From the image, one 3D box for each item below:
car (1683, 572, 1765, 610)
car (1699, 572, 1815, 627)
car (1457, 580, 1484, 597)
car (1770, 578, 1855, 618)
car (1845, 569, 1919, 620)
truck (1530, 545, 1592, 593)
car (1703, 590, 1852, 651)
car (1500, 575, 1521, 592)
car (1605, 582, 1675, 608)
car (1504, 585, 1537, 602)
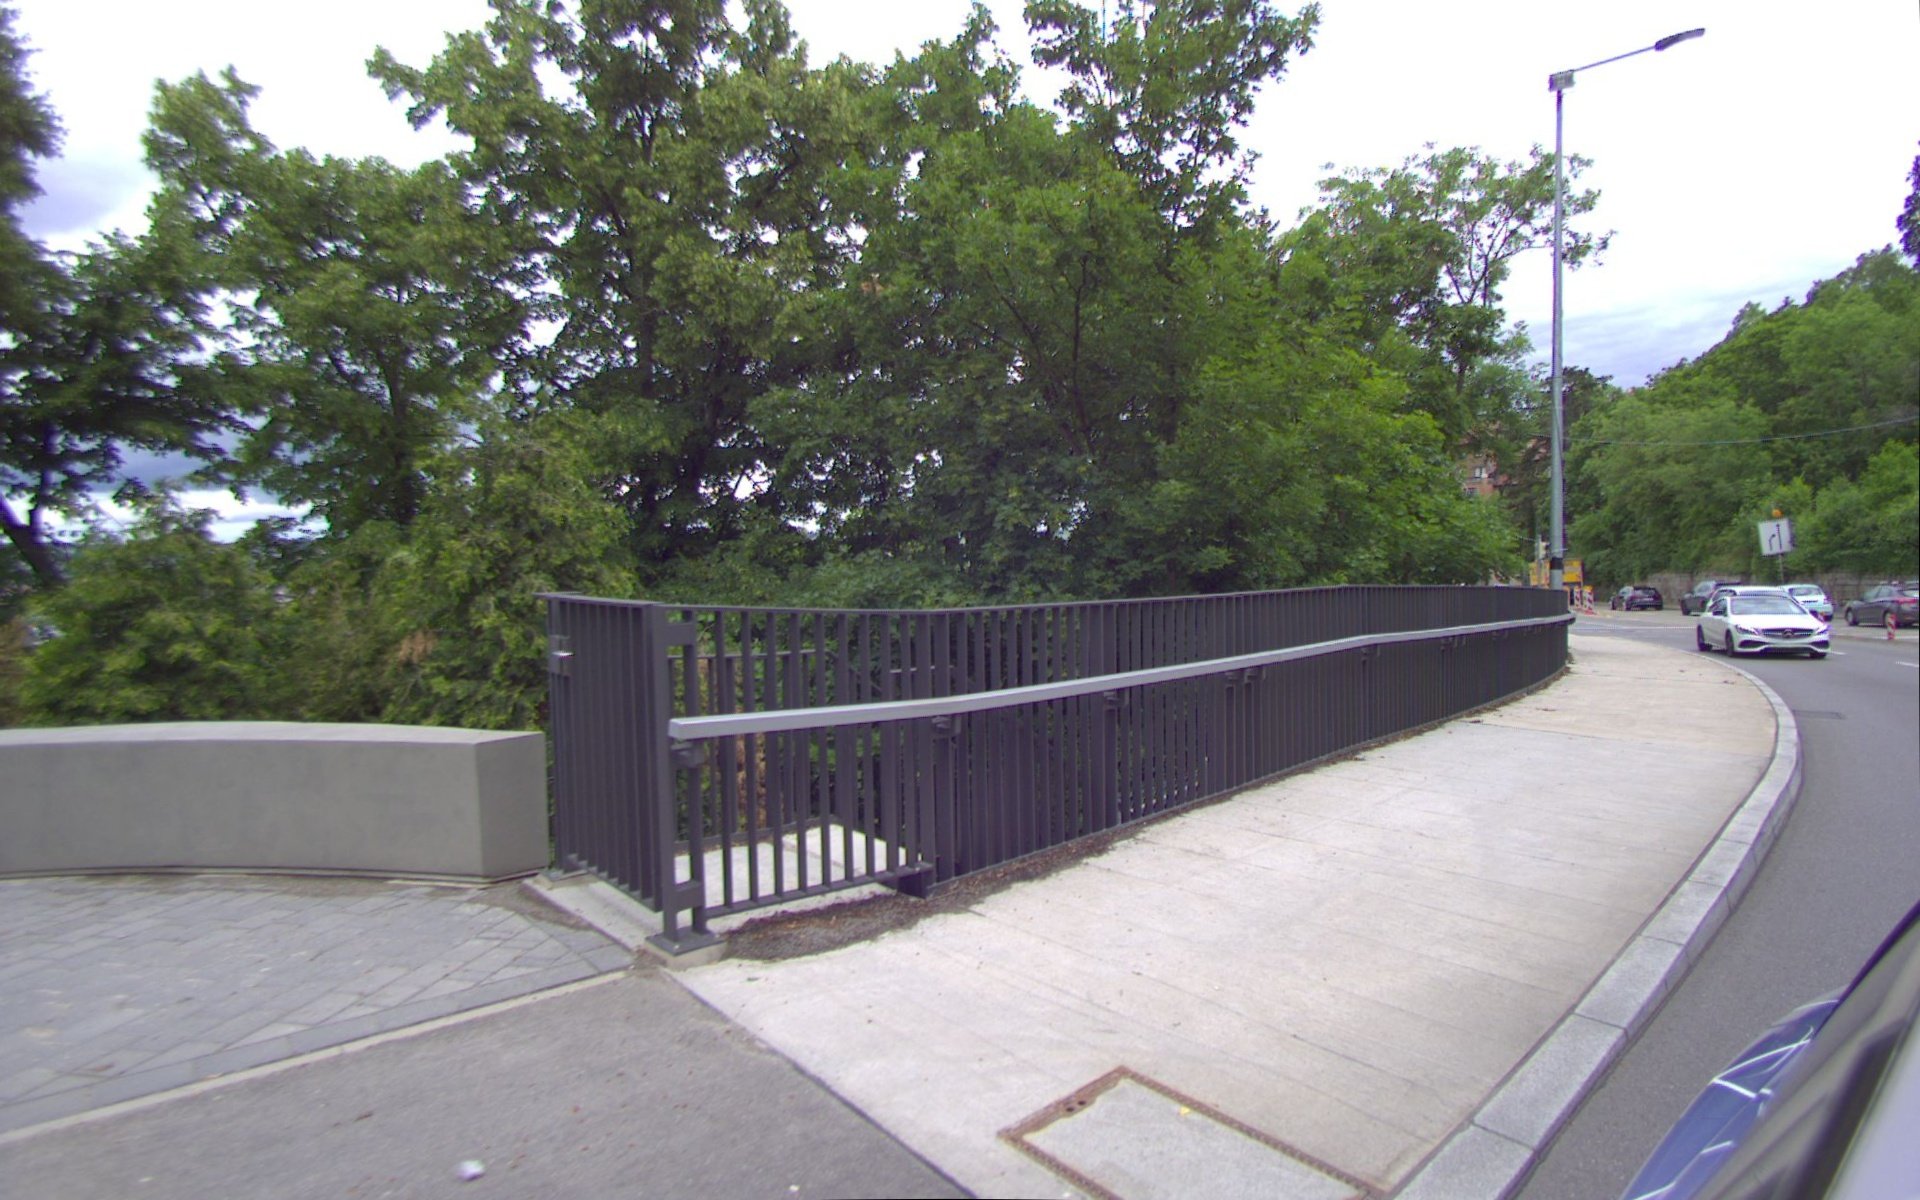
[{"bbox_3d":[37.136,-0.435,49.328,1.866,1.718,4.640,-2,0,20],"label":"car"},{"bbox_3d":[25.691,-0.055,32.784,1.865,1.598,3.970,-3,0,23],"label":"car"},{"bbox_3d":[59.707,-1.349,118.421,1.781,1.813,4.325,-3,0,13],"label":"car"},{"bbox_3d":[34.408,-0.075,40.949,1.699,1.485,3.628,-3,-1,26],"label":"car"},{"bbox_3d":[32.019,-0.219,34.114,1.693,1.618,4.184,-2,0,17],"label":"car"},{"bbox_3d":[47.409,-2.436,80.062,2.704,3.554,7.305,-1,0,19],"label":"truck"},{"bbox_3d":[19.195,0.439,23.964,1.780,1.323,4.065,-1,0,25],"label":"car"},{"bbox_3d":[66.777,-2.001,122.877,1.552,1.623,3.571,-3,4,18],"label":"car"},{"bbox_3d":[40.961,-0.300,61.072,1.788,1.448,4.856,-2,0,13],"label":"car"},{"bbox_3d":[52.496,-0.598,94.896,1.753,1.460,4.718,-3,0,18],"label":"car"}]
